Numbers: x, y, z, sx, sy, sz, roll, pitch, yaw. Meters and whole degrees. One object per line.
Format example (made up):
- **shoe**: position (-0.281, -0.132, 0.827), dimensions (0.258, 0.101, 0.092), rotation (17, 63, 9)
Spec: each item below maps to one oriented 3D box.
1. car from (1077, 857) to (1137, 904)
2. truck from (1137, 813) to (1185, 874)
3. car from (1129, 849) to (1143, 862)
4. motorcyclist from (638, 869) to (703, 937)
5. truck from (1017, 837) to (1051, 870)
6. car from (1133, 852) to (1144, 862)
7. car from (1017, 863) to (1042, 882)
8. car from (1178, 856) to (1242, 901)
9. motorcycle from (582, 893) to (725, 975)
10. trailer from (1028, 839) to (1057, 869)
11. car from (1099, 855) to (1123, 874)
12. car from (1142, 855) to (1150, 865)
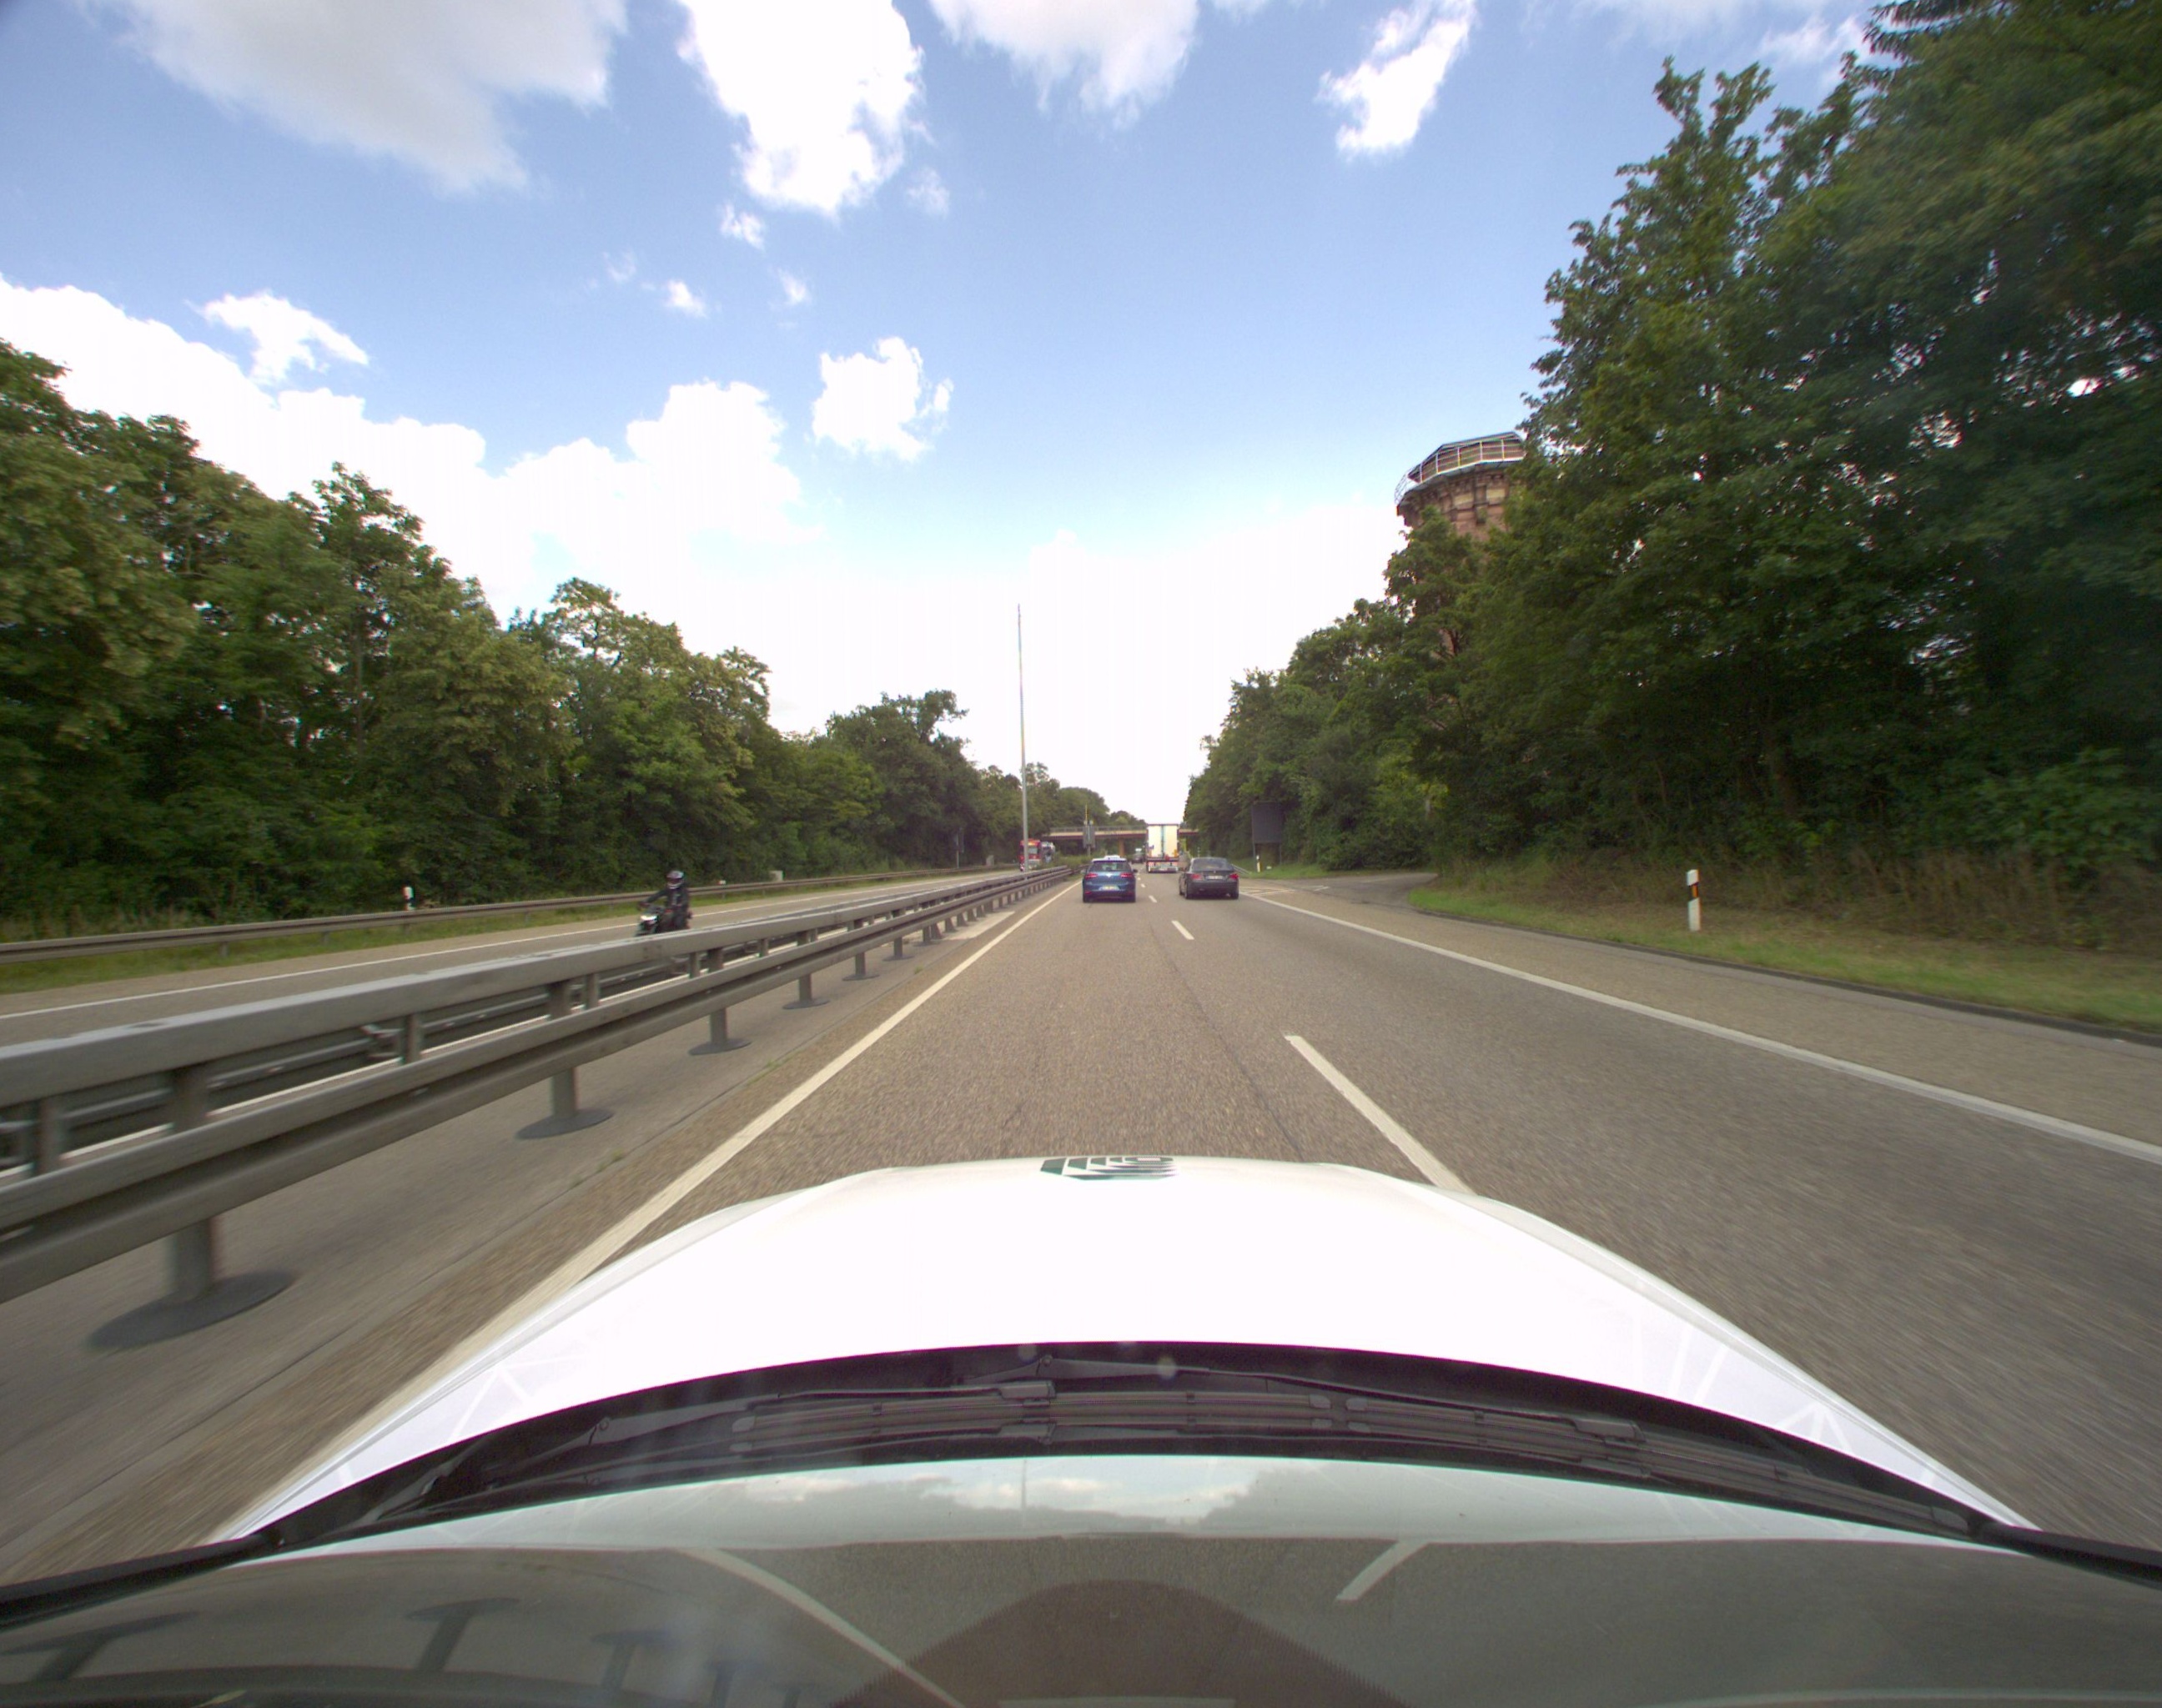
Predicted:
- **car**: position (0.956, 0.835, 27.749), dimensions (1.696, 1.470, 4.008), rotation (0, 0, 7)
- **truck**: position (6.766, -0.856, 70.317), dimensions (3.230, 4.716, 11.010), rotation (-2, 0, 2)
- **car**: position (8.698, 0.242, 127.459), dimensions (1.944, 2.013, 4.007), rotation (-2, 0, 6)
- **motorcyclist**: position (-7.787, 0.909, 15.468), dimensions (0.822, 1.226, 0.720), rotation (-2, 0, 1)
- **truck**: position (-5.878, -0.023, 103.920), dimensions (2.942, 3.855, 10.332), rotation (-3, 0, 3)
- **car**: position (10.804, 0.472, 152.630), dimensions (1.757, 1.772, 4.030), rotation (-2, 0, 6)
- **car**: position (-4.751, 1.704, 75.548), dimensions (1.698, 1.568, 4.036), rotation (-2, 0, 4)
- **car**: position (4.582, 0.820, 29.468), dimensions (1.767, 1.475, 4.884), rotation (0, 0, 3)
- **motorcycle**: position (-7.852, 1.419, 15.205), dimensions (0.996, 1.201, 2.998), rotation (-2, 0, 1)
- **trailer**: position (-5.328, 0.042, 114.231), dimensions (2.926, 3.833, 10.315), rotation (-3, 0, 2)
- **car**: position (2.460, 0.840, 65.900), dimensions (1.657, 1.500, 4.158), rotation (-1, 0, 5)
- **car**: position (15.568, 1.471, 194.719), dimensions (1.984, 2.327, 4.448), rotation (-2, 0, 5)
